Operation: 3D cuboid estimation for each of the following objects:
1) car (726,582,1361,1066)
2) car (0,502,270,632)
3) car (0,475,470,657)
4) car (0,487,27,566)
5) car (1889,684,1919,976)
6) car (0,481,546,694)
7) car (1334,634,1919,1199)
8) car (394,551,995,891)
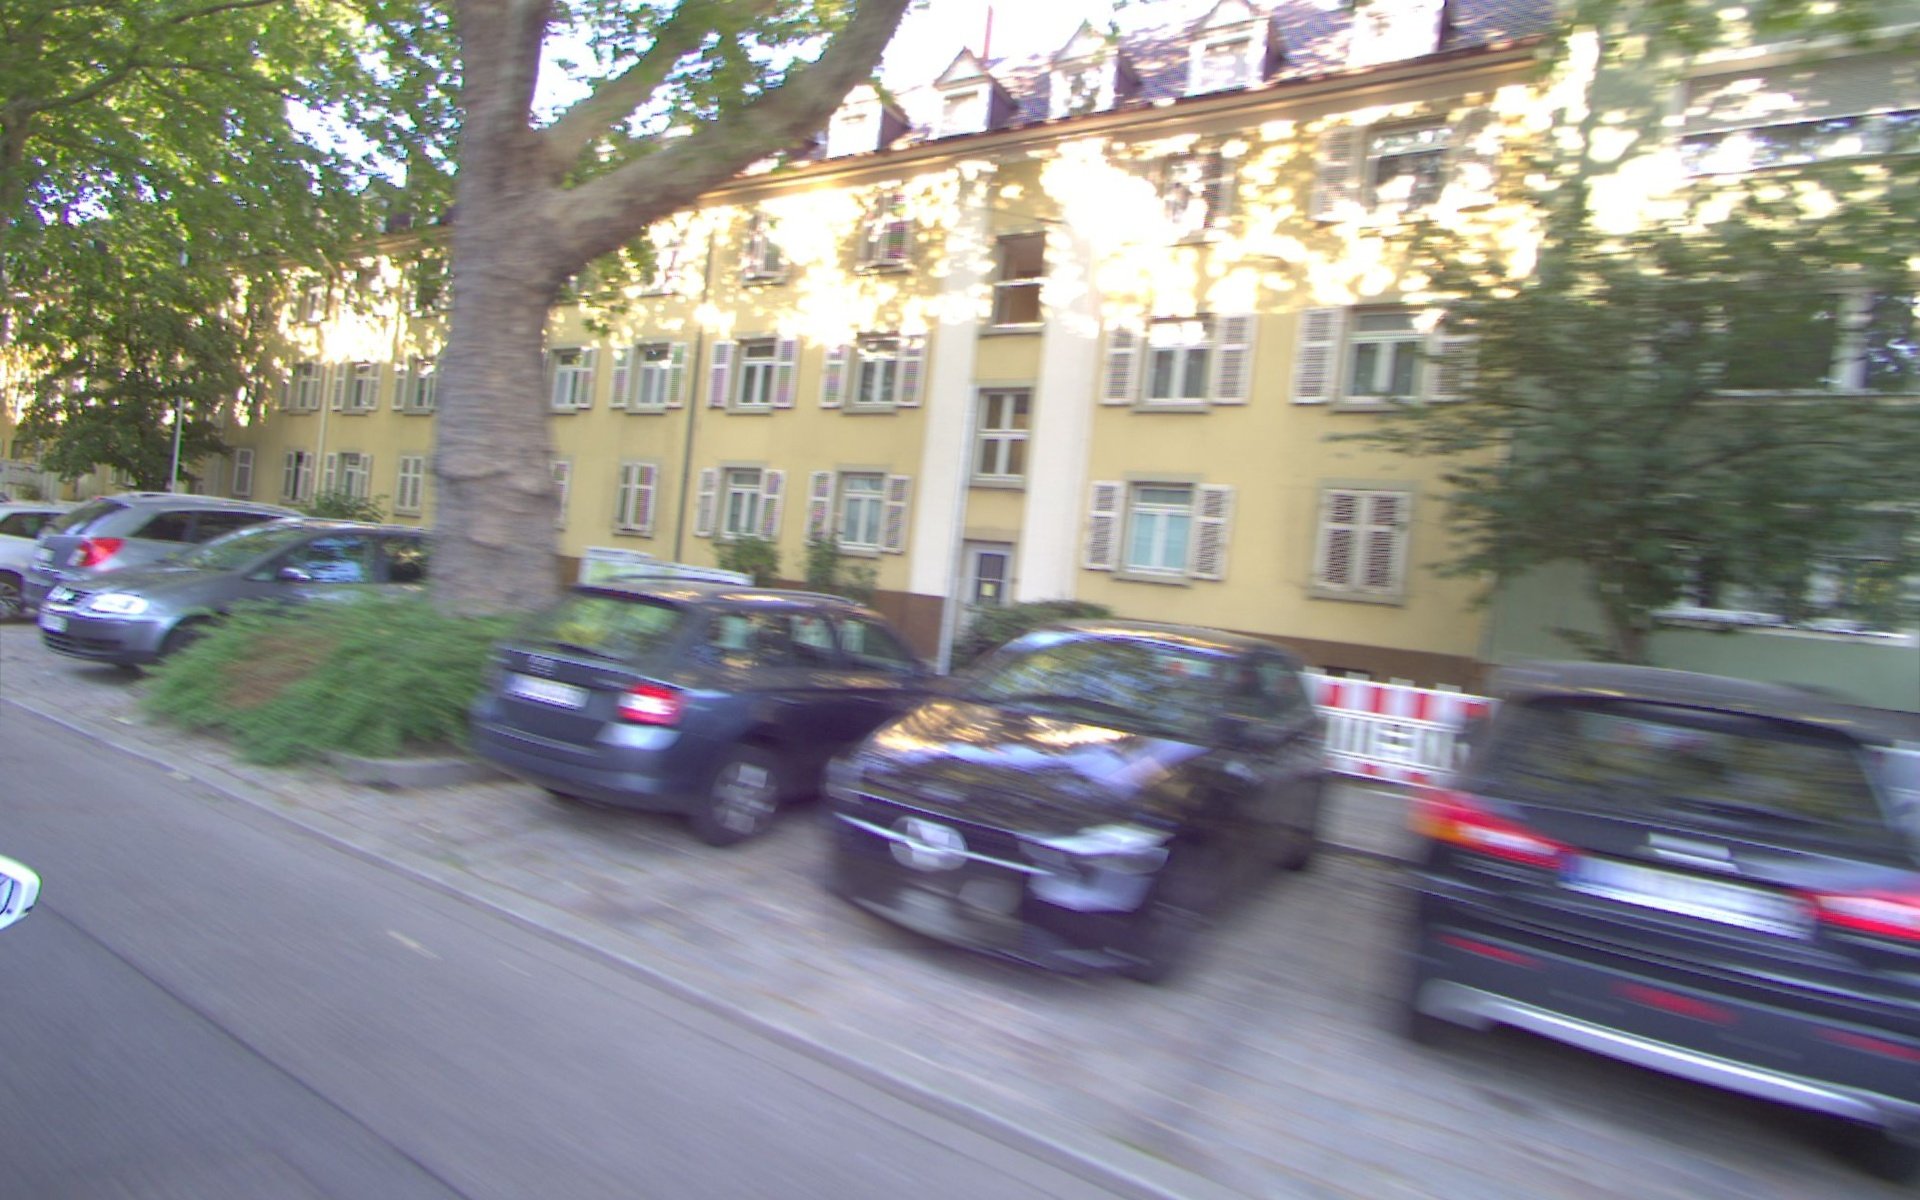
[{"bbox_3d":[0.926,0.884,5.873,1.787,1.543,4.403,7,1,31],"label":"car"},{"bbox_3d":[-11.640,-0.445,13.313,1.835,1.442,3.653,7,1,32],"label":"car"},{"bbox_3d":[-8.528,-0.295,12.118,1.811,1.754,4.307,6,1,35],"label":"car"},{"bbox_3d":[-21.038,-1.655,19.388,1.800,1.569,4.080,6,1,30],"label":"car"},{"bbox_3d":[5.304,1.188,3.454,1.882,1.880,5.116,6,1,30],"label":"car"},{"bbox_3d":[-6.905,-0.061,10.563,1.876,1.678,4.430,6,1,29],"label":"car"},{"bbox_3d":[3.131,1.103,4.755,1.765,1.626,3.878,7,1,30],"label":"car"},{"bbox_3d":[-1.461,0.649,6.962,1.712,1.516,3.885,7,1,29],"label":"car"}]
